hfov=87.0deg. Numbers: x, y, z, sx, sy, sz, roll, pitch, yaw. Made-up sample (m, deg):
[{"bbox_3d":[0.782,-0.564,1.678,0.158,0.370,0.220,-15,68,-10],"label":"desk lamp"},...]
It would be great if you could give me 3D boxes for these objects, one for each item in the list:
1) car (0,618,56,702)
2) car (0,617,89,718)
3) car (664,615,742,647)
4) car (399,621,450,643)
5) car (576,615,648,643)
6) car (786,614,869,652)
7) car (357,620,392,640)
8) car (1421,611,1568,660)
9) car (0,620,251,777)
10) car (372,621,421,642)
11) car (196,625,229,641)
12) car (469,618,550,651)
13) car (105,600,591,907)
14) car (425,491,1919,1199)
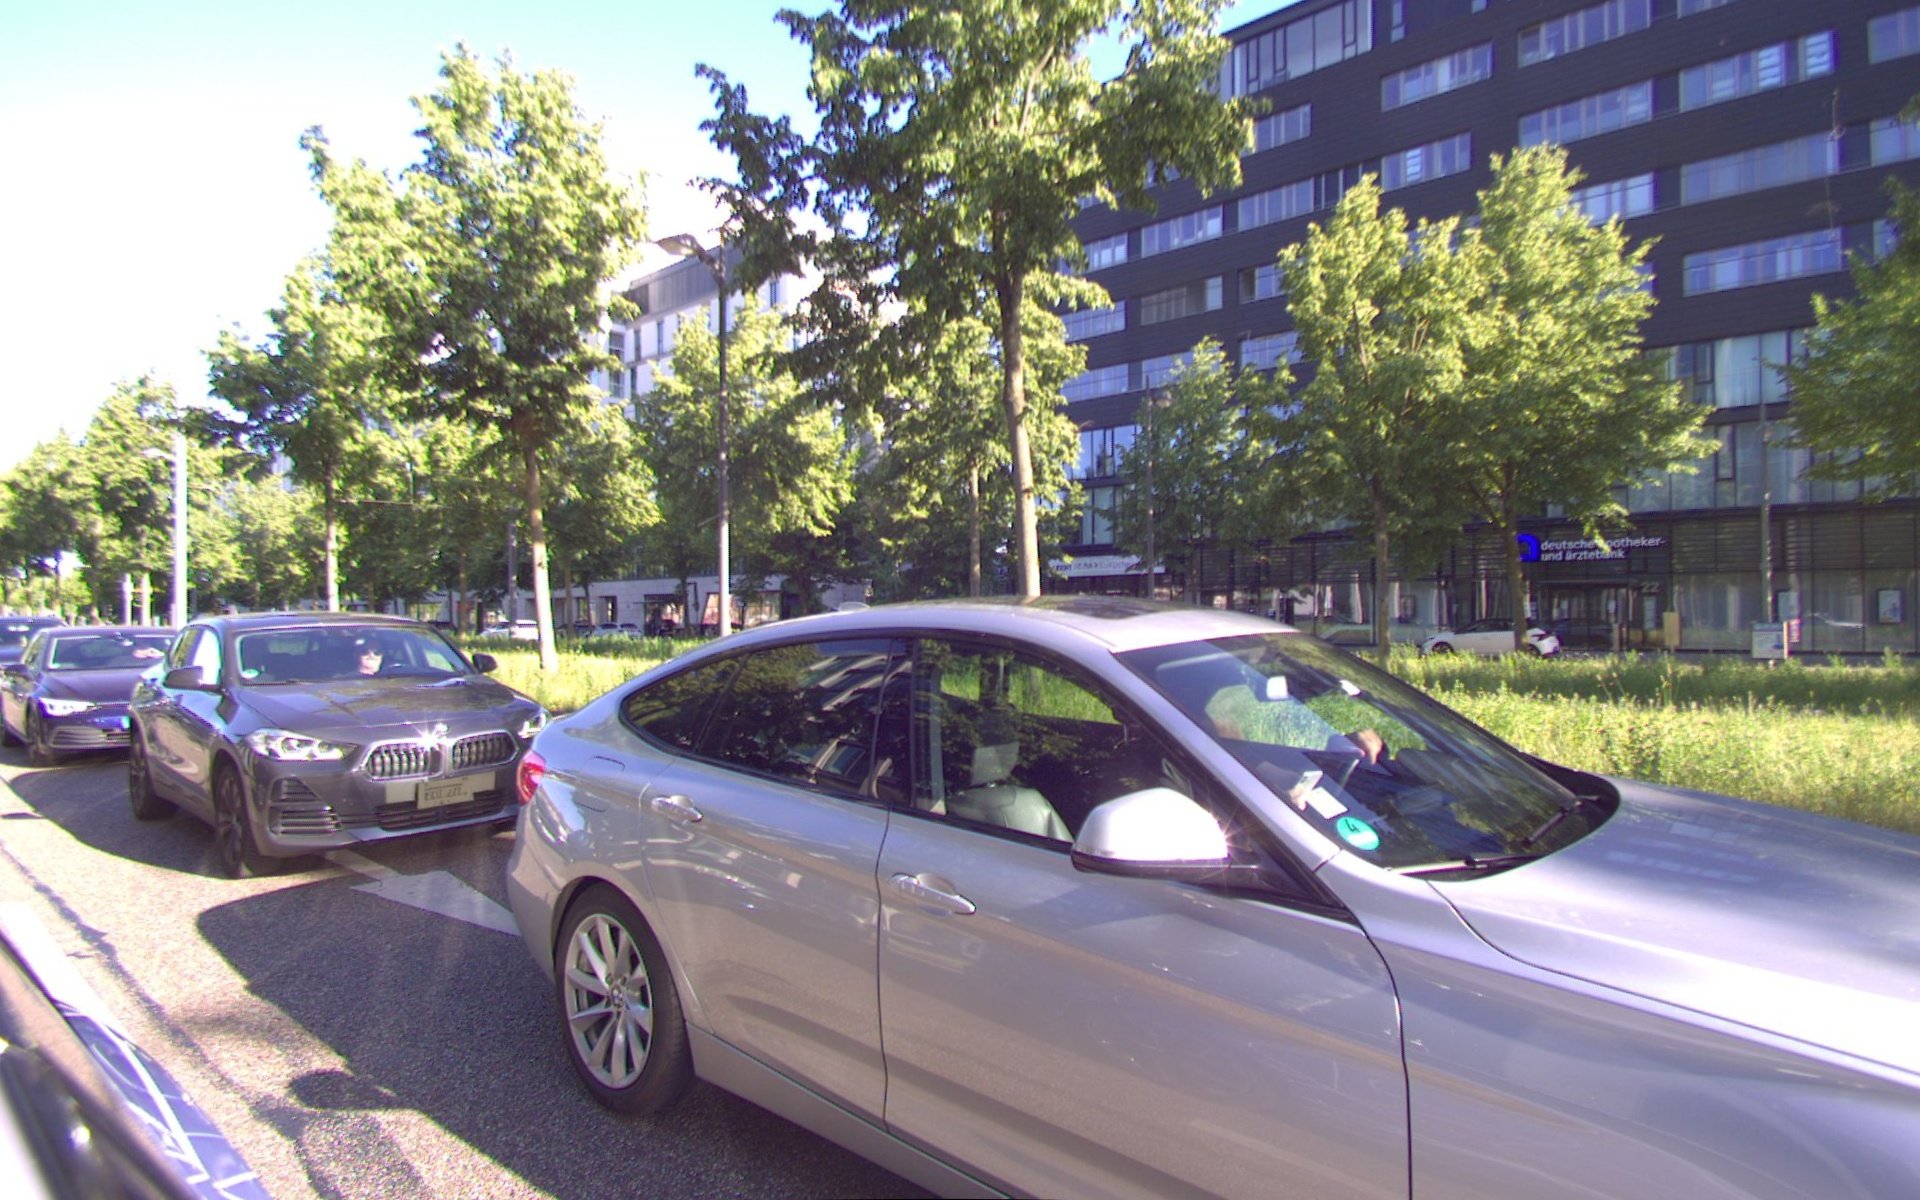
[{"bbox_3d":[-21.598,1.277,22.183,4.788,1.711,1.986,-1,-1,40],"label":"car"},{"bbox_3d":[-16.802,1.126,17.789,4.164,1.602,1.788,-1,-1,42],"label":"car"},{"bbox_3d":[-14.338,1.714,56.341,4.790,1.697,1.834,-1,-1,41],"label":"car"},{"bbox_3d":[-42.980,2.564,81.210,4.788,1.711,1.986,-1,-1,40],"label":"car"},{"bbox_3d":[-21.757,1.807,63.242,4.785,1.711,1.988,-1,-1,38],"label":"car"},{"bbox_3d":[-6.472,1.577,49.344,3.998,1.762,1.834,-1,-1,41],"label":"car"},{"bbox_3d":[-51.022,2.627,88.164,3.741,1.682,1.581,-1,-1,41],"label":"car"},{"bbox_3d":[17.710,1.164,33.647,4.000,1.516,1.733,-2,-1,43],"label":"car"},{"bbox_3d":[-9.783,0.979,11.622,4.253,1.465,1.789,-1,-1,42],"label":"car"},{"bbox_3d":[-47.365,2.637,85.012,4.788,1.711,1.986,-1,-1,40],"label":"car"},{"bbox_3d":[-69.088,3.065,93.497,3.998,1.403,1.644,-1,-1,41],"label":"car"},{"bbox_3d":[-21.999,1.669,49.319,4.733,1.549,1.834,-1,-1,41],"label":"car"},{"bbox_3d":[-4.445,0.811,7.092,4.027,1.534,1.789,-1,-1,41],"label":"car"},{"bbox_3d":[0.487,0.665,2.729,4.739,1.500,1.790,-1,-1,40],"label":"car"}]
